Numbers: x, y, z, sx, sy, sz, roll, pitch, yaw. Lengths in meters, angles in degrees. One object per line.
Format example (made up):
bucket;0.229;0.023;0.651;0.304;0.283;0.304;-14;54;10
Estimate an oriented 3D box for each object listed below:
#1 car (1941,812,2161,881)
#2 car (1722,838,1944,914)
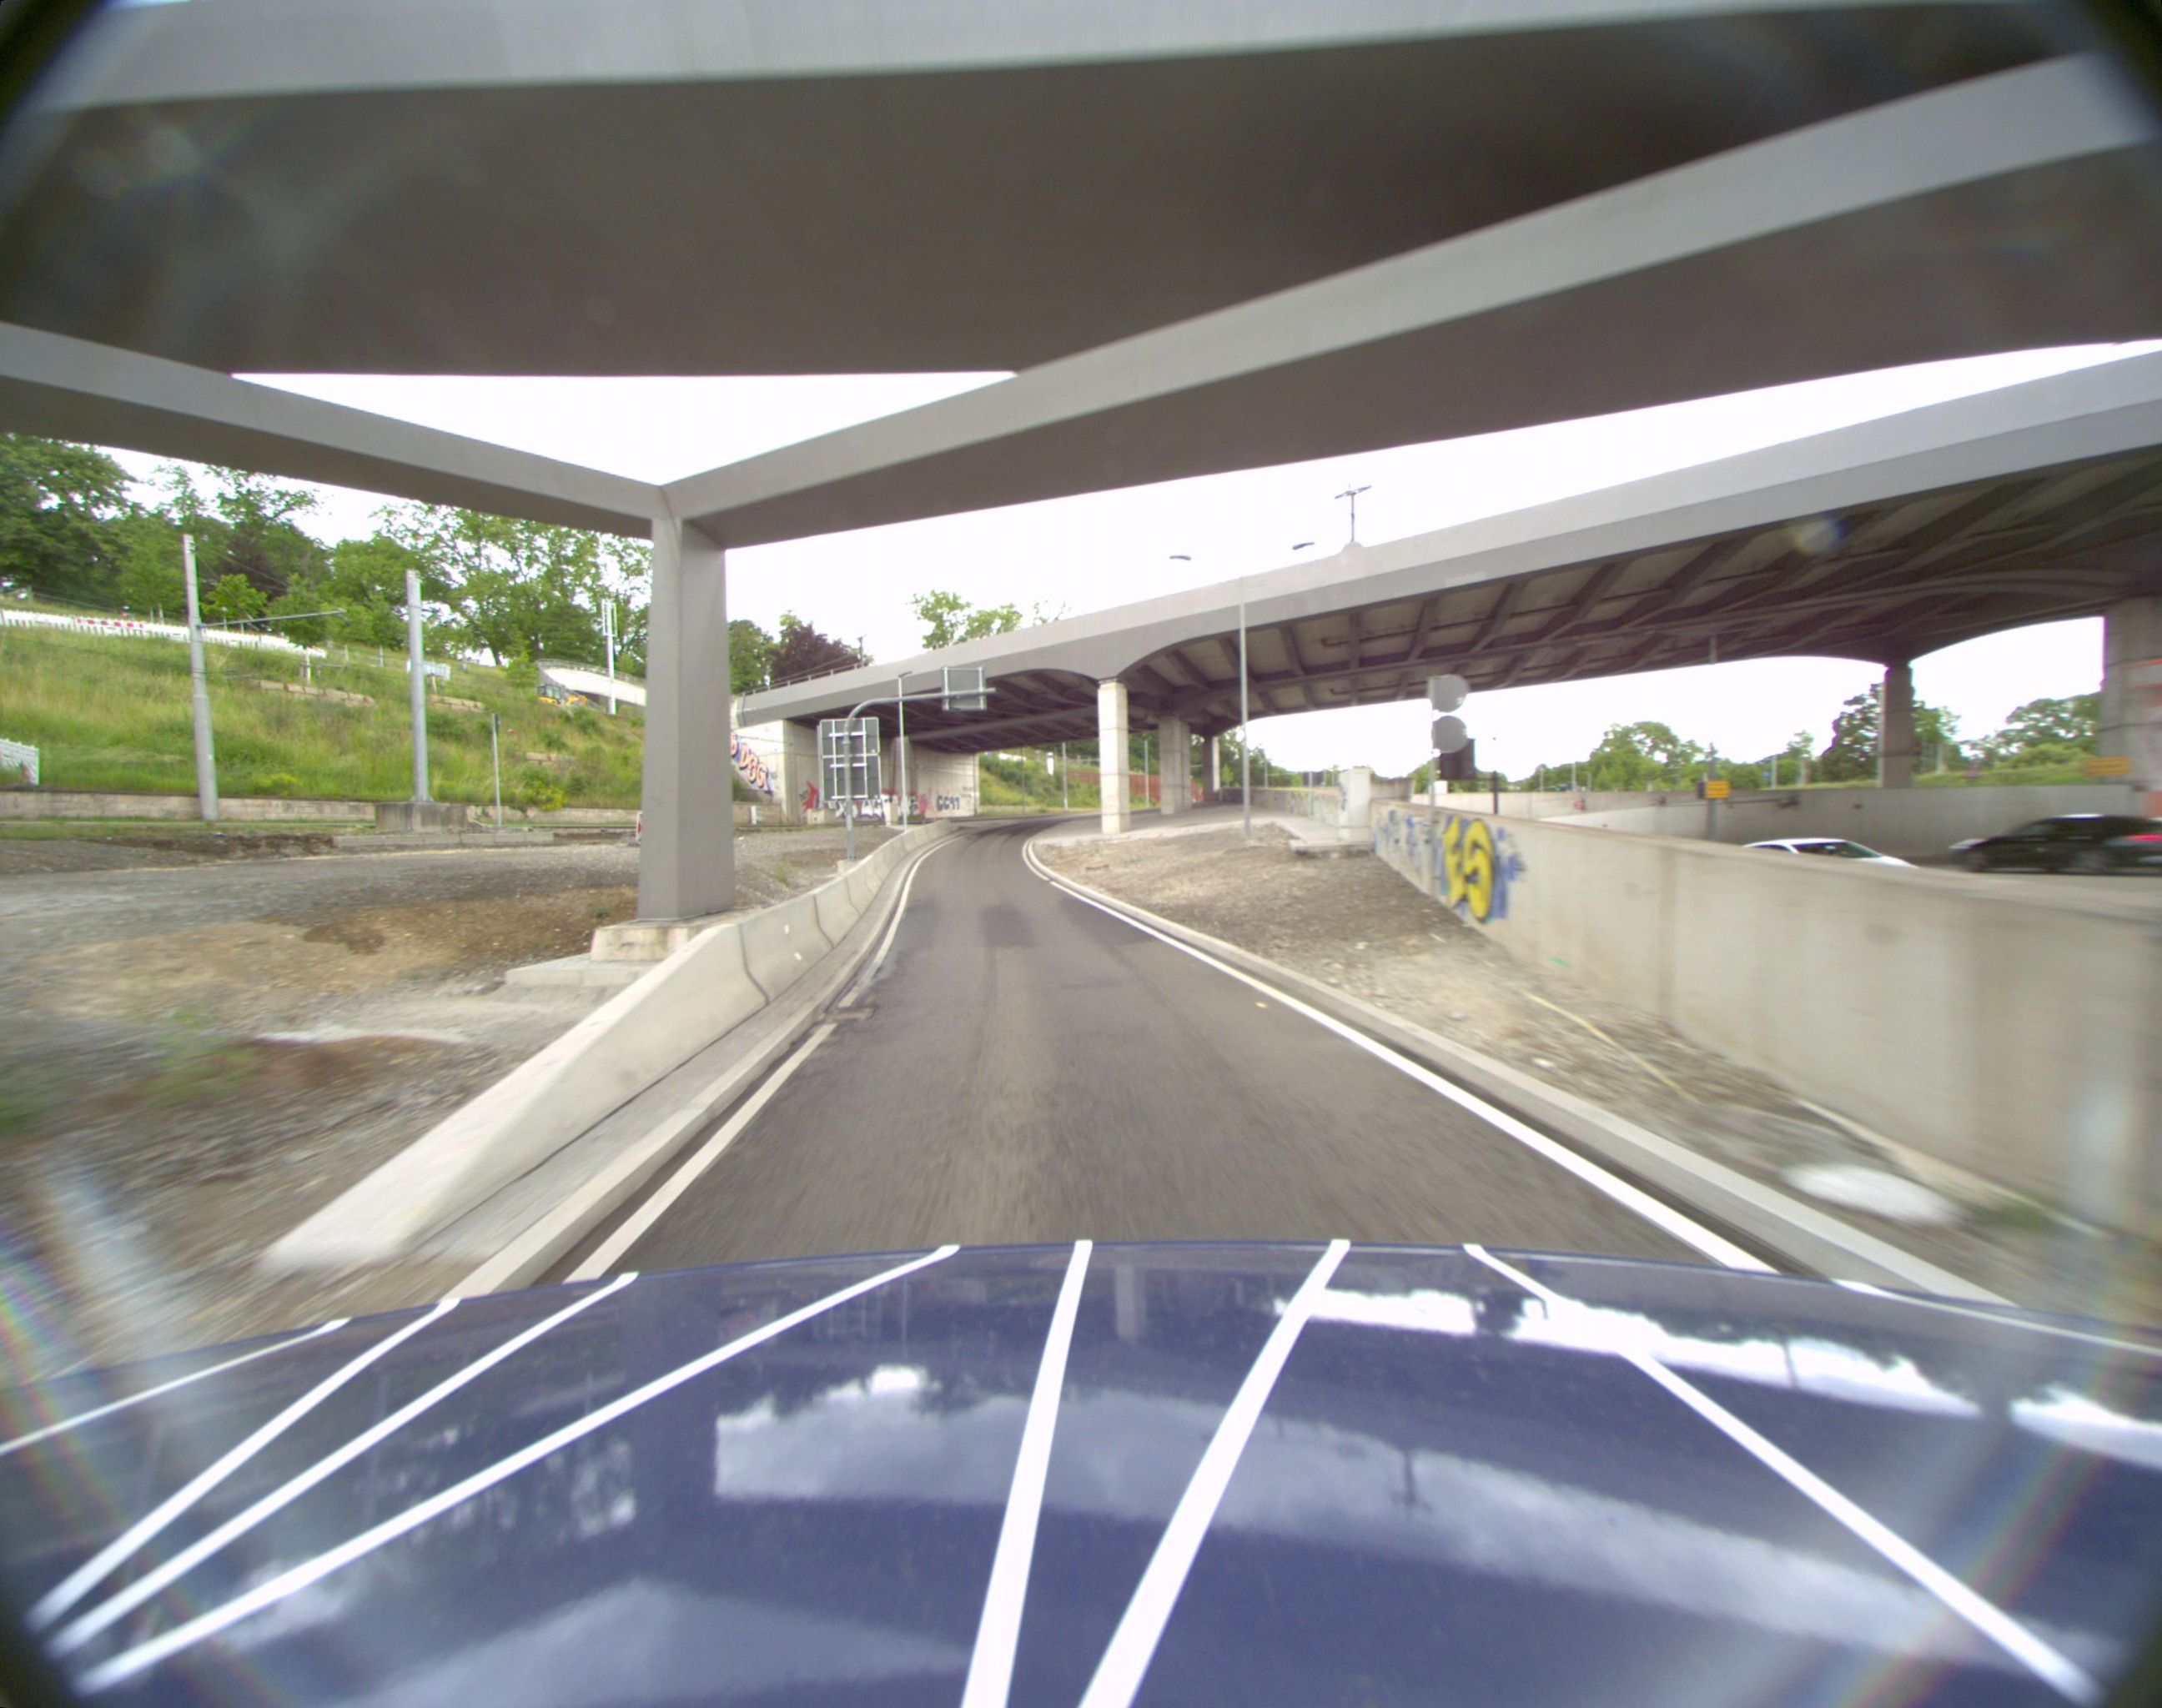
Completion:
car;23.922;-0.209;18.124;1.792;1.469;4.616;-1;1;4
car;16.651;0.403;17.124;1.578;1.476;4.000;-2;1;11
